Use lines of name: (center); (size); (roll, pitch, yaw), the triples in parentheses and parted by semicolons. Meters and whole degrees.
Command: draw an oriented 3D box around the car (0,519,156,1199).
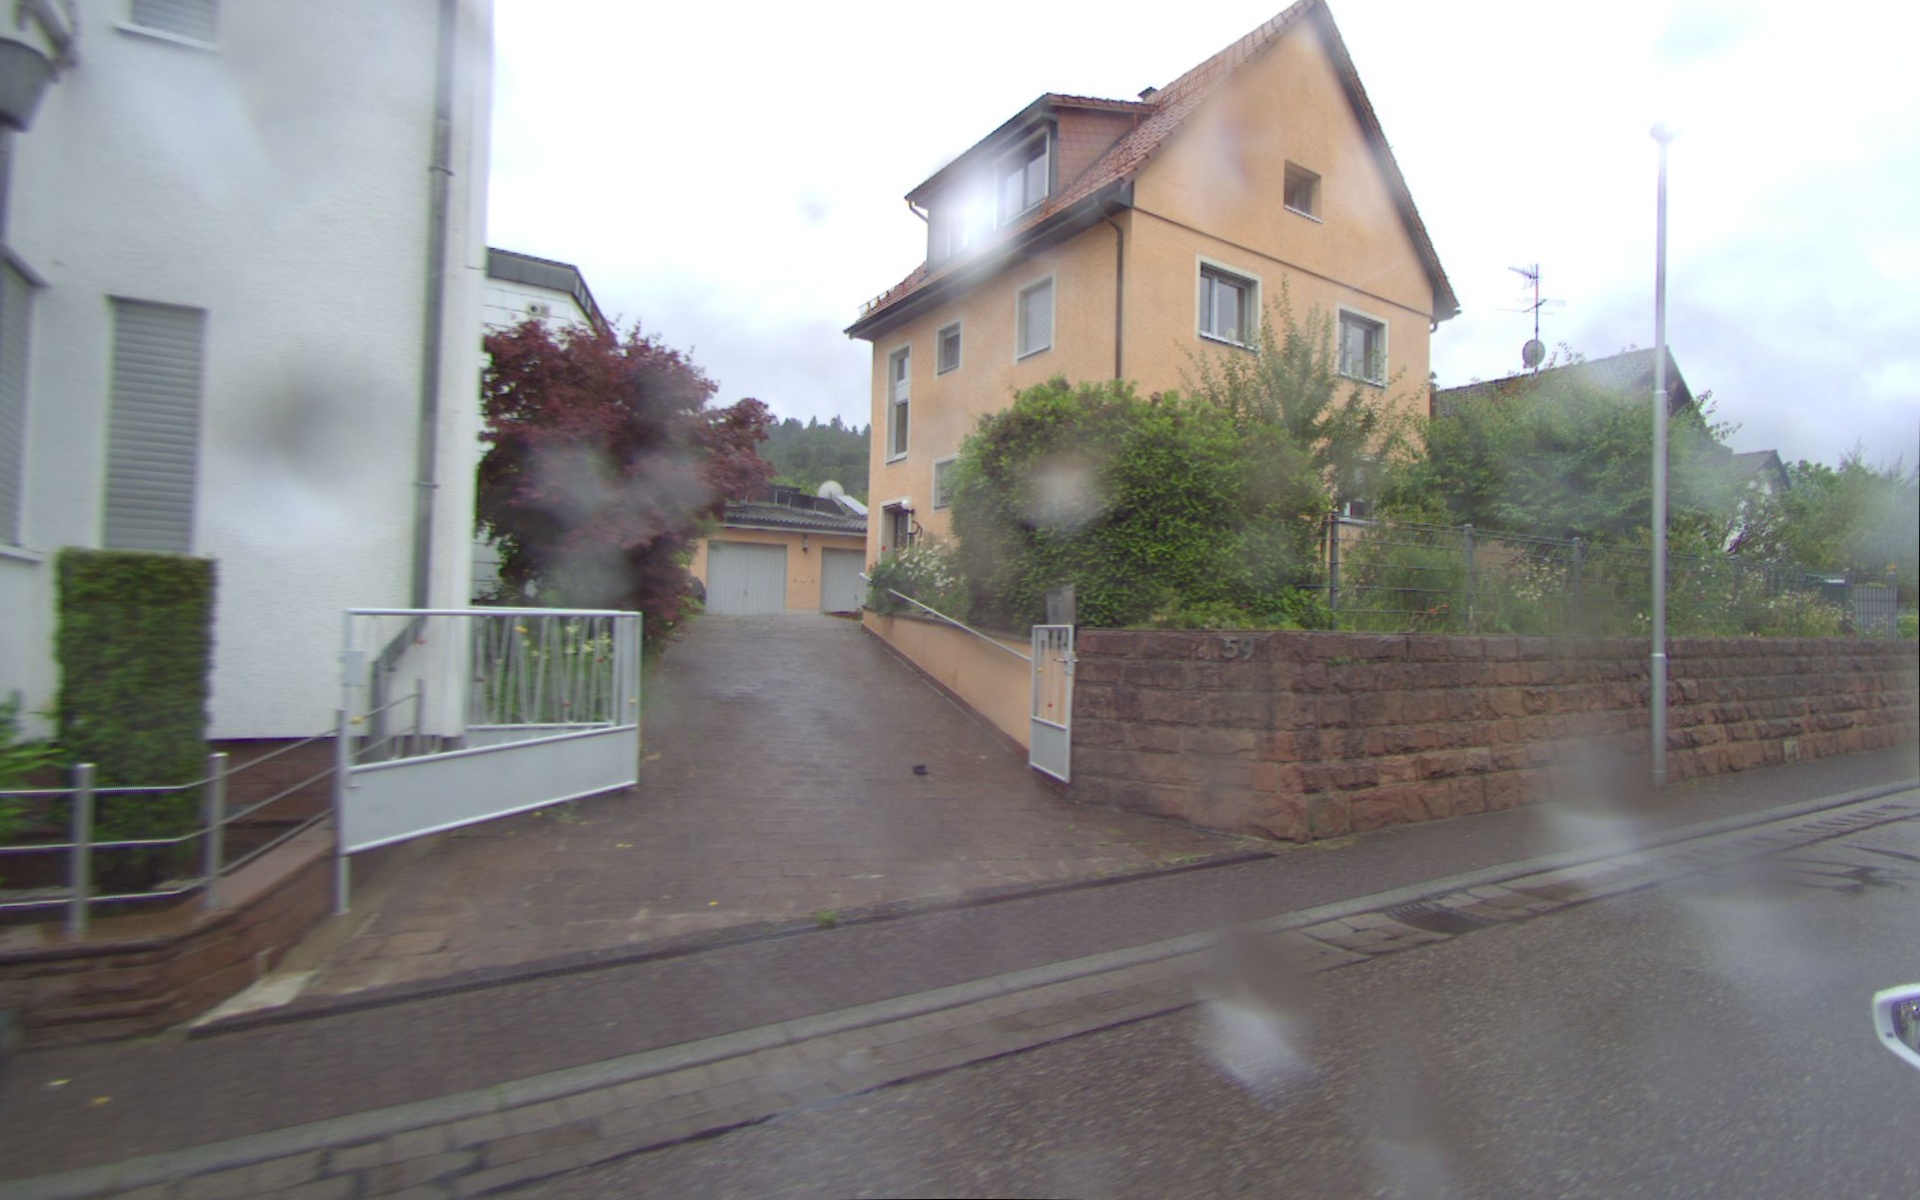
car: (-3.770, 0.642, 0.381); (5.139, 1.695, 1.825); (3, -3, -32)
